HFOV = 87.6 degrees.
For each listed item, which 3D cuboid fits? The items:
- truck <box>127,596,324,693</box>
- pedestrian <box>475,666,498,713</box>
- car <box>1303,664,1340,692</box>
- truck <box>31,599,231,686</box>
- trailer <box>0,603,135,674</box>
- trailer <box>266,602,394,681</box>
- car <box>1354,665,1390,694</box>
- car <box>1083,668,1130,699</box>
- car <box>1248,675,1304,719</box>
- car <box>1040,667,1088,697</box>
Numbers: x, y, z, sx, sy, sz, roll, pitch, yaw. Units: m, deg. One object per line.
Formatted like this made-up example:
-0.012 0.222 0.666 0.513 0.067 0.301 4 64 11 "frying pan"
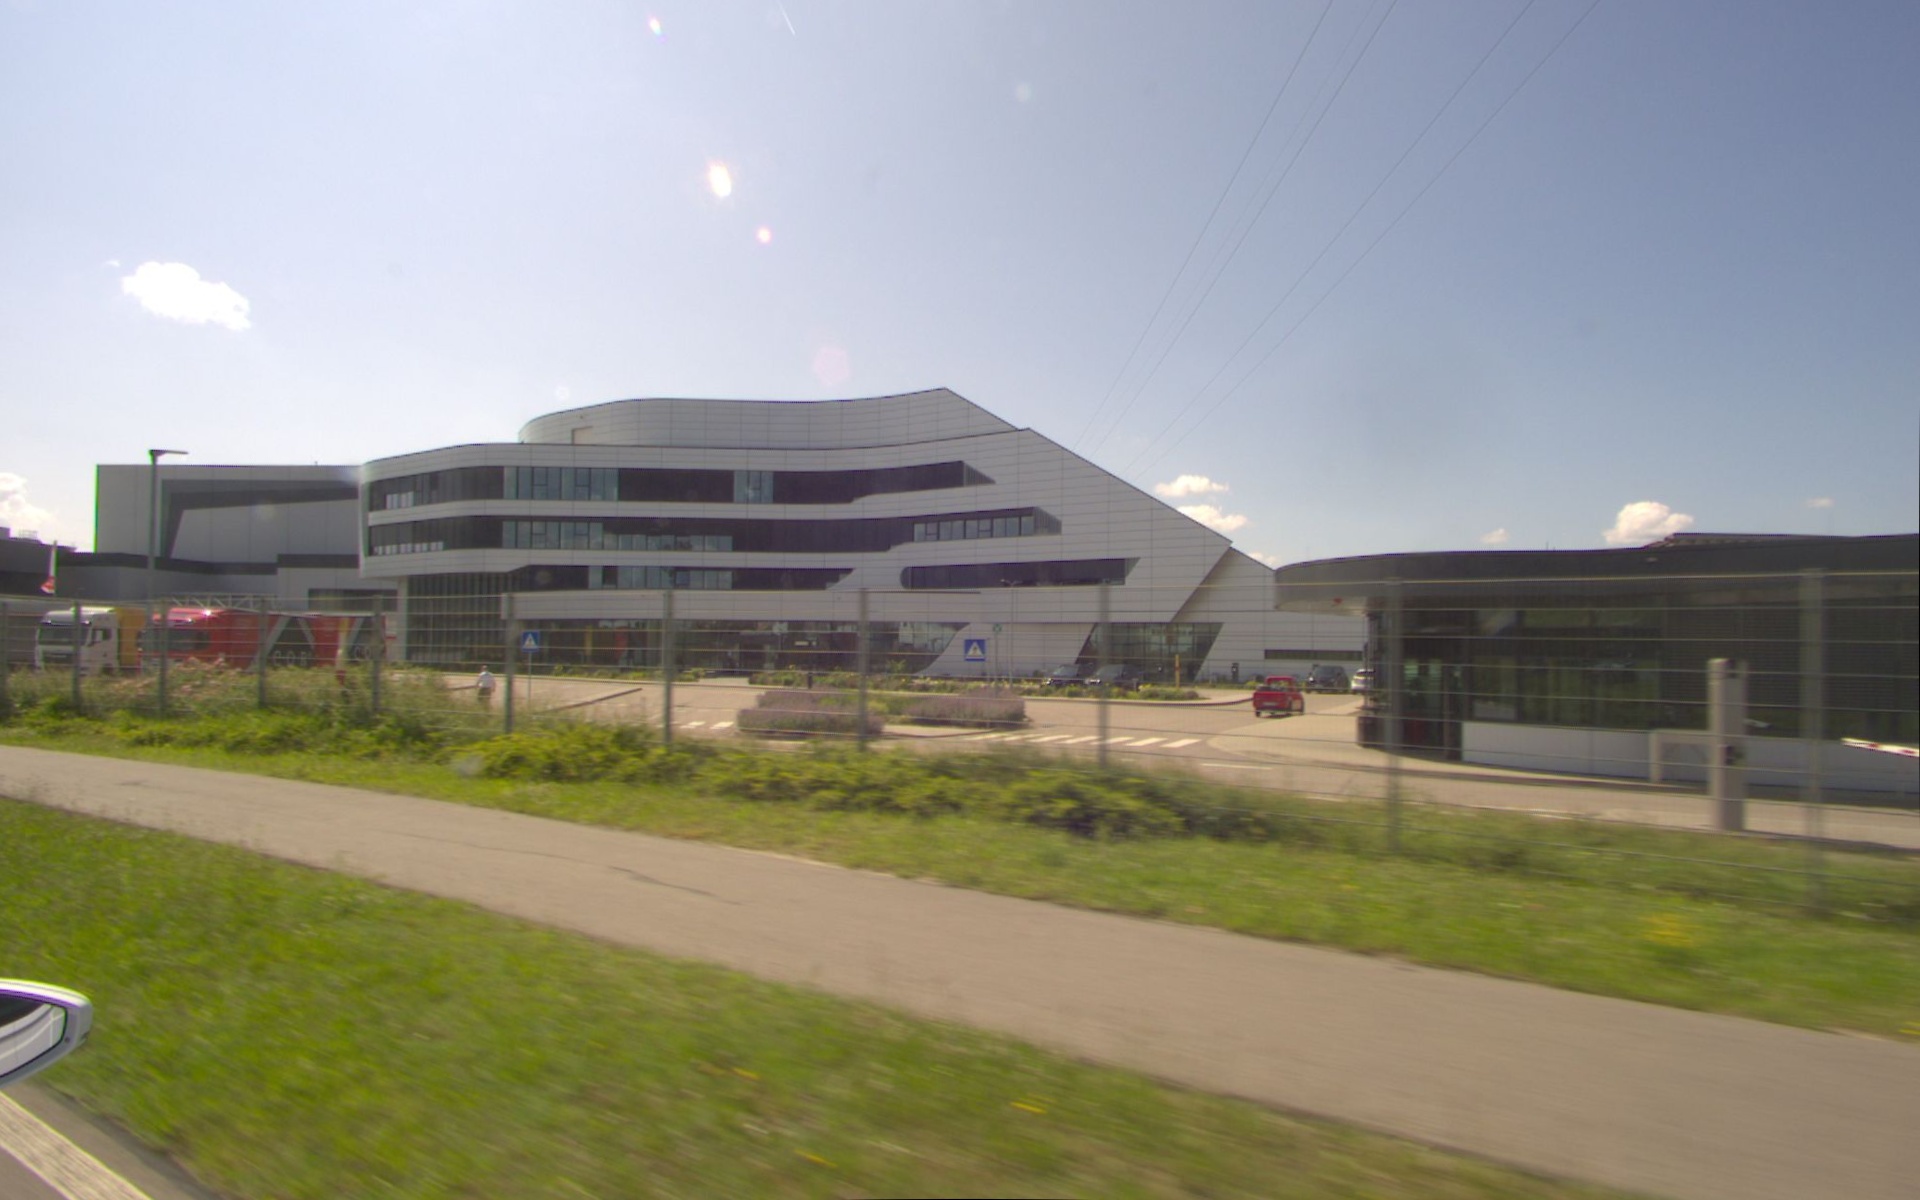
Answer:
-36.356 2.137 50.316 2.971 4.311 10.973 0 -1 -7 "truck"
-17.160 3.226 36.289 0.565 1.673 0.483 0 -2 30 "pedestrian"
21.178 4.548 58.595 1.450 1.553 3.044 0 -3 31 "car"
-44.423 2.232 54.333 2.768 4.226 10.974 0 -1 -6 "truck"
-62.242 2.571 67.847 2.713 4.494 14.062 0 -2 -7 "trailer"
-37.512 2.435 60.056 2.971 4.351 8.716 0 -1 -6 "trailer"
23.358 4.485 56.746 1.450 1.553 3.044 0 -3 31 "car"
7.904 4.457 53.932 1.450 1.553 3.044 0 -3 31 "car"
12.475 3.771 39.399 1.434 1.553 3.139 0 -3 31 "car"
5.740 4.499 55.074 1.450 1.553 3.044 0 -3 31 "car"
